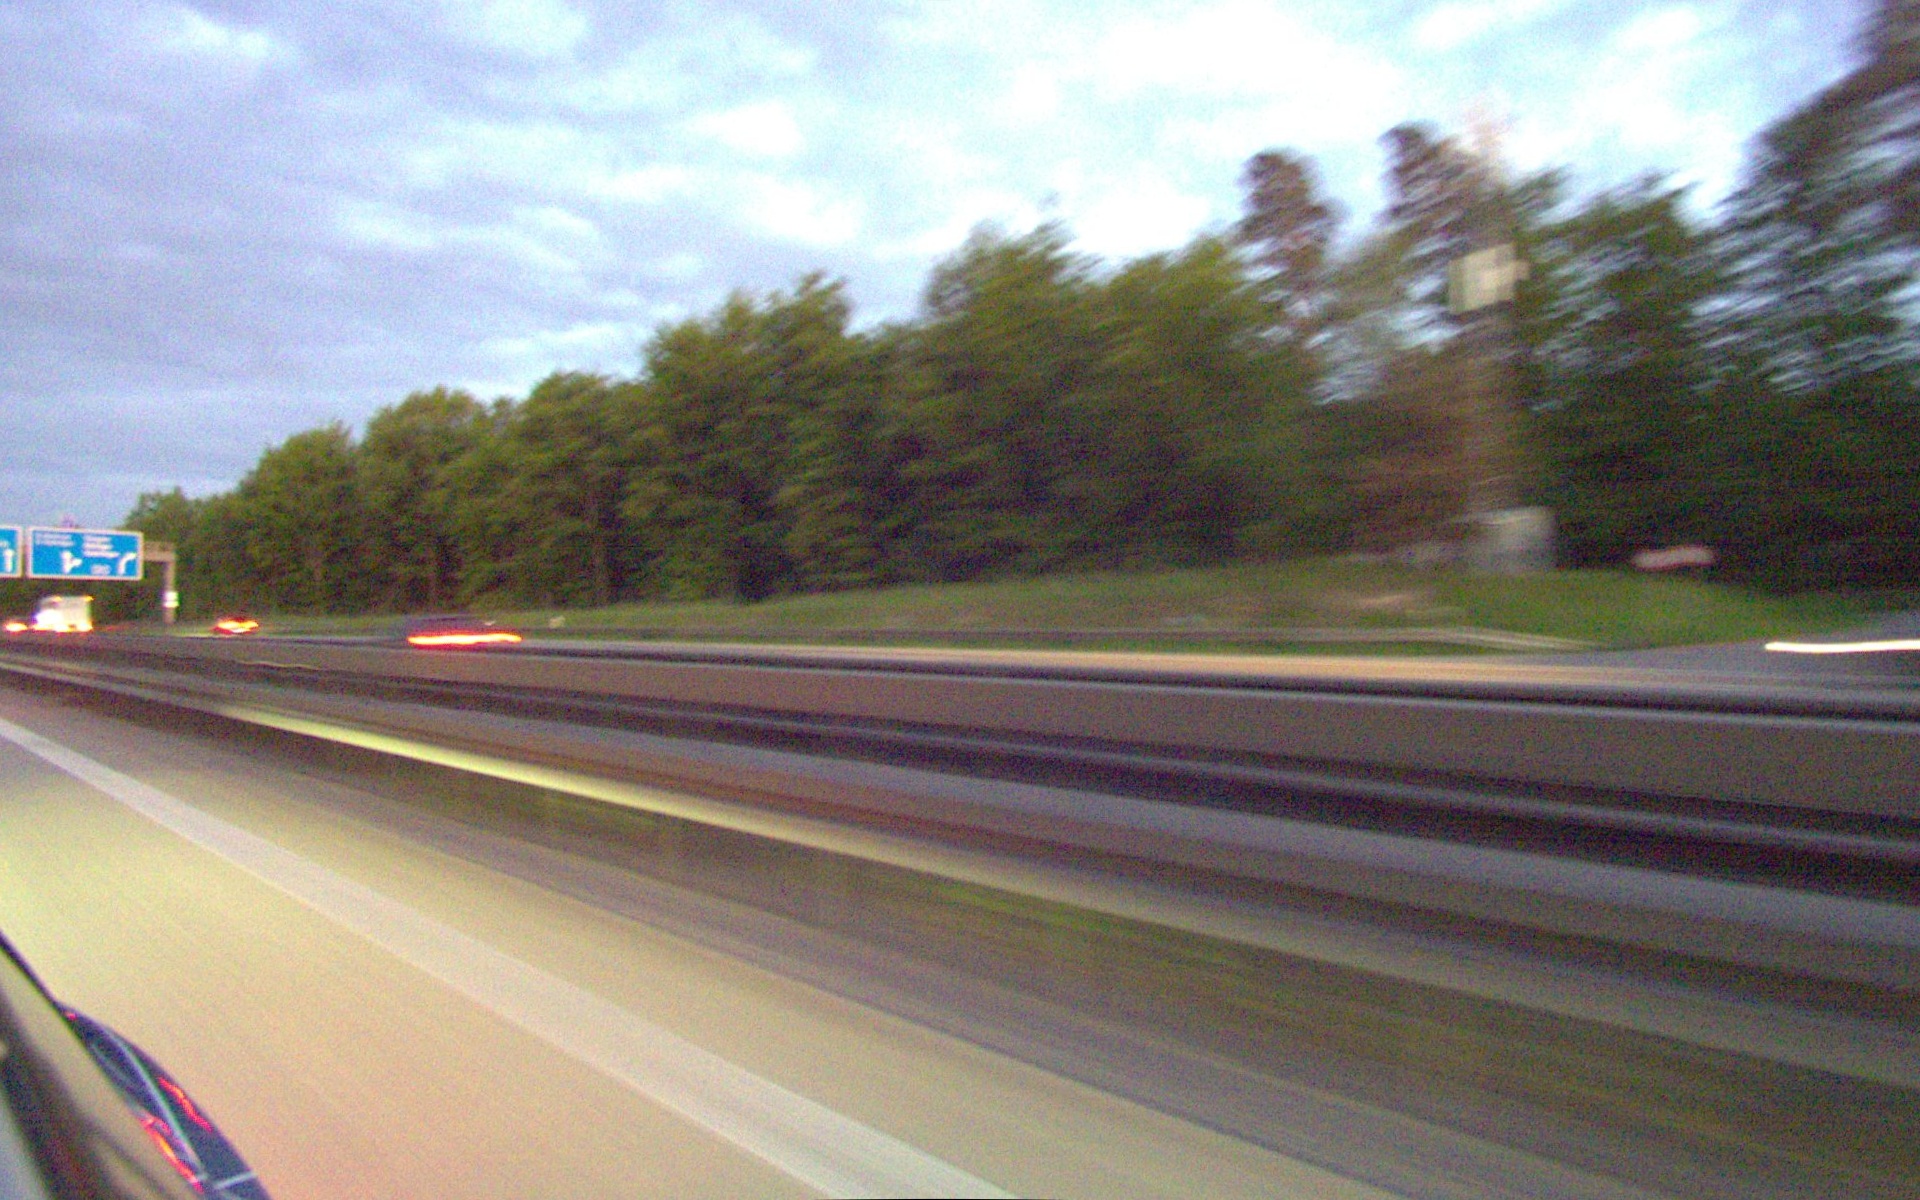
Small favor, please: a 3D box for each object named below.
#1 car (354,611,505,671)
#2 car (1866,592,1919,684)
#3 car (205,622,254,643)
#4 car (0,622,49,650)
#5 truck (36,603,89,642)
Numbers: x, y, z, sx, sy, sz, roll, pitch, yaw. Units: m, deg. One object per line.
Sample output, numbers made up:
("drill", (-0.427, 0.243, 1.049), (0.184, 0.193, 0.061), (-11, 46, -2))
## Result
("car", (-13.895, 1.013, 26.386), (4.905, 1.391, 1.796), (-1, 0, 41))
("car", (16.664, 0.549, 14.871), (4.905, 1.391, 1.796), (-1, 0, 41))
("car", (-53.836, 2.380, 74.523), (4.590, 1.508, 1.832), (-2, -1, 40))
("car", (-61.352, 2.358, 66.203), (4.546, 1.718, 1.974), (-1, -1, 39))
("truck", (-96.750, 2.434, 109.017), (10.532, 4.041, 2.619), (-2, -1, 39))
